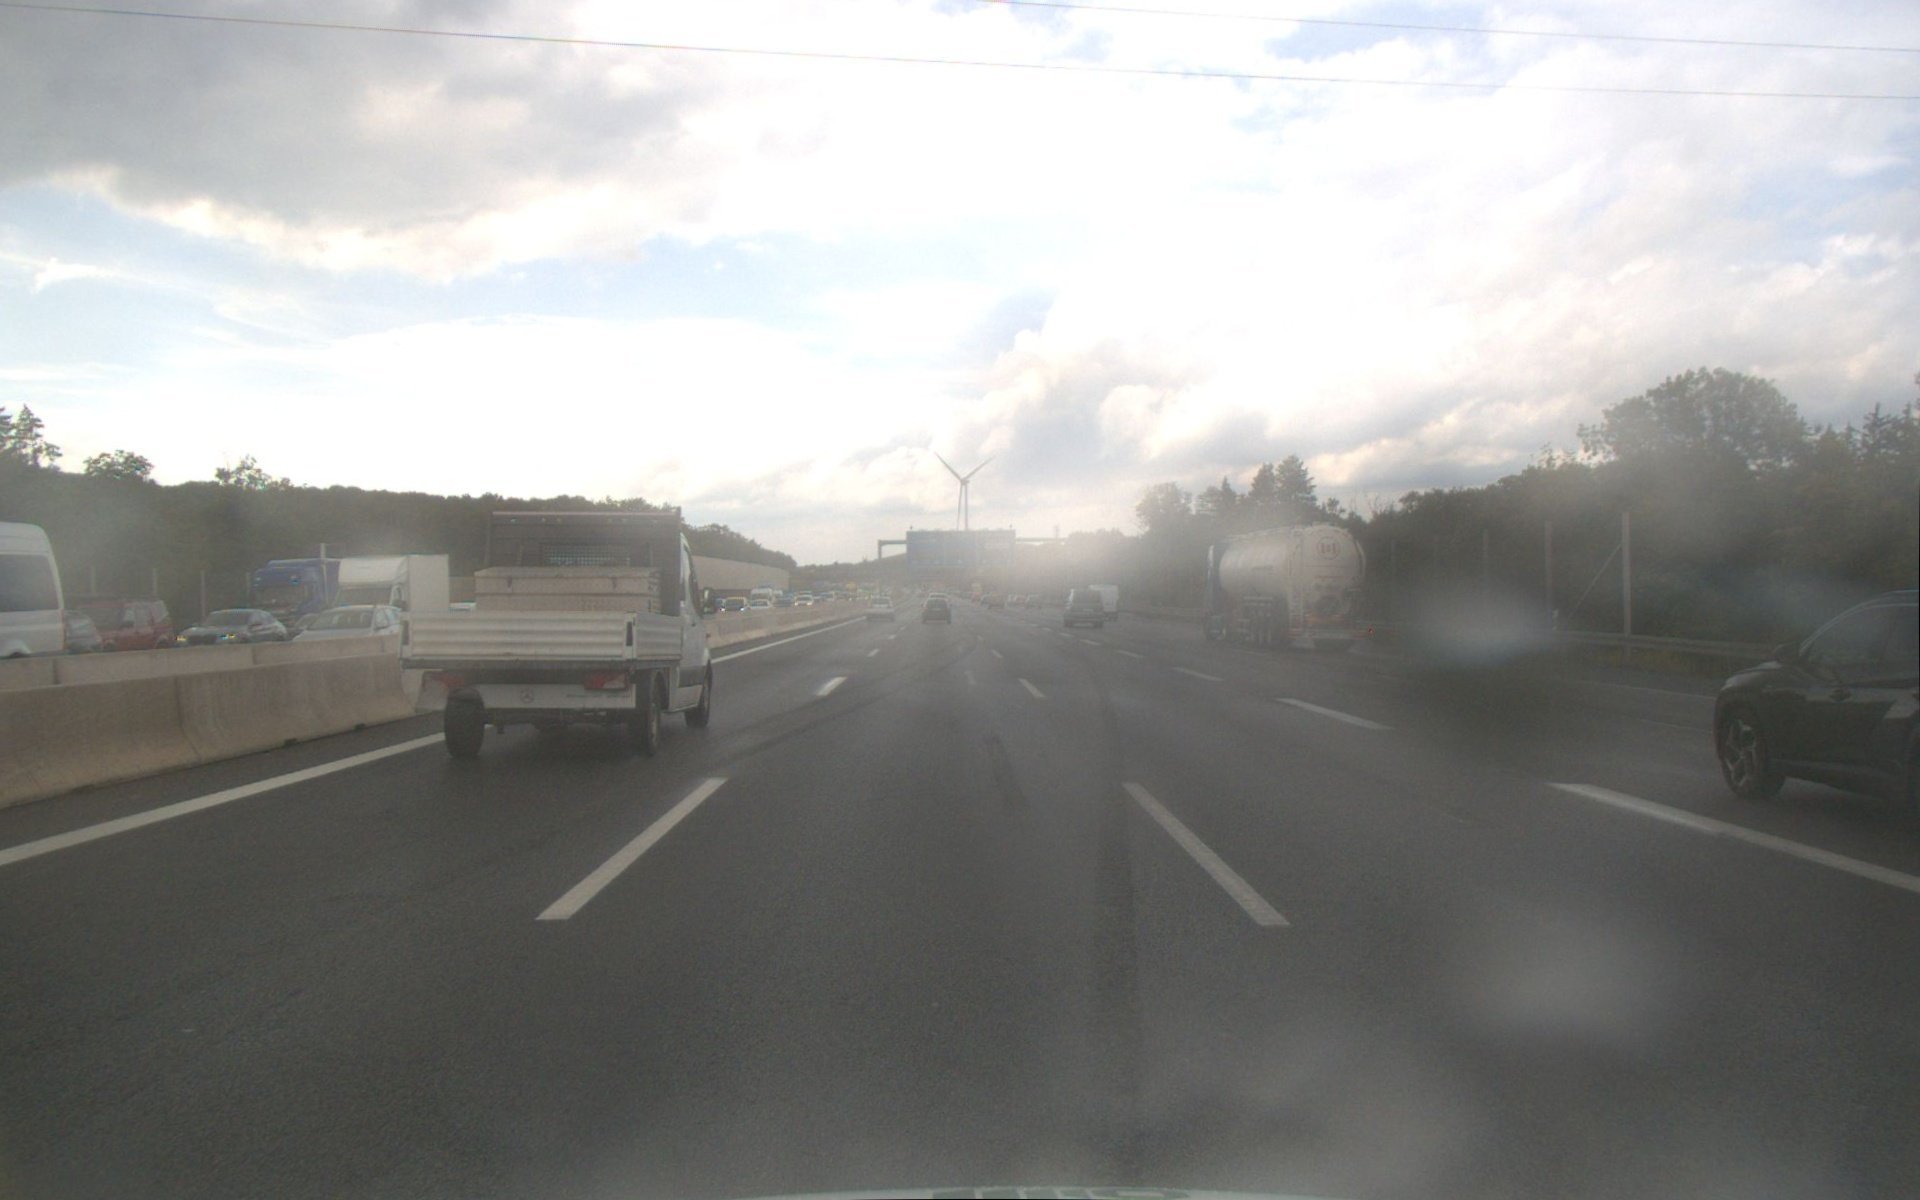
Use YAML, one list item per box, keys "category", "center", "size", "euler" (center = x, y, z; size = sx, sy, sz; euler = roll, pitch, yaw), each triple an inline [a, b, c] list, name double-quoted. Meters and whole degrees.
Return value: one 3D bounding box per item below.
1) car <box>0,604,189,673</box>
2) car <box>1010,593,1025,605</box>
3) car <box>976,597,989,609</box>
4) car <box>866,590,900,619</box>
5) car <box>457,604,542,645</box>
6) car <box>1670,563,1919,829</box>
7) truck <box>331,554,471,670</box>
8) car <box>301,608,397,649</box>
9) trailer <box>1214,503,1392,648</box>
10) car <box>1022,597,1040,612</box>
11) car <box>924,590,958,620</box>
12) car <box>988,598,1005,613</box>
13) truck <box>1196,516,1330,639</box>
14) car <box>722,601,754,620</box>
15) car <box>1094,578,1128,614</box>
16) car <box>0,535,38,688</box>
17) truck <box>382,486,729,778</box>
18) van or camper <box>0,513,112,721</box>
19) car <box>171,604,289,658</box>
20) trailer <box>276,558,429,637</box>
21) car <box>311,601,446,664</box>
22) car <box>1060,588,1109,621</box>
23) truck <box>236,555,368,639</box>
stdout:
- category: "car"
  center: [-21.479, 0.911, 41.339]
  size: [1.875, 1.571, 5.503]
  euler: [0, 0, -1]
- category: "car"
  center: [8.082, -0.140, 233.632]
  size: [2.003, 1.729, 4.000]
  euler: [0, 1, 0]
- category: "car"
  center: [3.418, 0.490, 248.146]
  size: [1.830, 1.758, 3.999]
  euler: [0, 0, -1]
- category: "car"
  center: [-4.817, 0.259, 103.998]
  size: [2.003, 1.729, 3.999]
  euler: [0, 1, -1]
- category: "car"
  center: [-14.795, 0.776, 53.342]
  size: [1.655, 1.256, 3.999]
  euler: [0, 0, -1]
- category: "car"
  center: [7.224, 0.632, 11.937]
  size: [2.003, 1.729, 5.006]
  euler: [1, 0, -1]
- category: "truck"
  center: [-18.383, 0.375, 54.873]
  size: [2.139, 3.580, 7.490]
  euler: [0, 0, -1]
- category: "car"
  center: [-24.942, 1.133, 67.714]
  size: [1.875, 1.571, 5.614]
  euler: [1, 0, -1]
- category: "trailer"
  center: [11.028, -0.756, 54.732]
  size: [3.265, 4.248, 11.836]
  euler: [1, 0, -1]
- category: "car"
  center: [8.504, 0.543, 199.151]
  size: [1.953, 1.780, 4.496]
  euler: [0, 0, -1]
- category: "car"
  center: [-1.103, 0.294, 98.109]
  size: [2.003, 1.729, 4.000]
  euler: [0, 1, 0]
- category: "car"
  center: [4.421, 0.663, 202.923]
  size: [2.003, 1.729, 4.000]
  euler: [0, 1, 0]
- category: "truck"
  center: [10.951, -0.794, 60.626]
  size: [3.265, 4.151, 8.270]
  euler: [1, 0, -1]
- category: "car"
  center: [-14.986, 0.675, 111.867]
  size: [1.655, 1.256, 3.999]
  euler: [0, 0, -1]
- category: "car"
  center: [10.778, -0.312, 118.016]
  size: [2.003, 2.541, 3.999]
  euler: [0, 1, -1]
- category: "car"
  center: [-26.695, 0.303, 39.294]
  size: [3.137, 4.016, 11.655]
  euler: [0, 0, -1]
- category: "truck"
  center: [-3.936, 0.239, 17.704]
  size: [2.306, 2.450, 7.353]
  euler: [1, 1, -4]
- category: "van or camper"
  center: [-13.773, 0.213, 21.041]
  size: [2.134, 2.752, 7.519]
  euler: [1, 0, -1]
- category: "car"
  center: [-22.267, 0.916, 50.588]
  size: [1.832, 1.571, 4.037]
  euler: [1, 0, -1]
- category: "trailer"
  center: [-30.285, -0.120, 83.316]
  size: [3.074, 3.644, 12.886]
  euler: [0, 0, -1]
- category: "car"
  center: [-13.465, 0.712, 38.562]
  size: [1.655, 1.358, 4.371]
  euler: [0, 0, -1]
- category: "car"
  center: [6.598, 0.217, 88.206]
  size: [2.056, 1.729, 3.997]
  euler: [0, 1, -4]
- category: "truck"
  center: [-30.223, -0.134, 76.372]
  size: [3.074, 3.644, 7.664]
  euler: [0, 0, -1]
